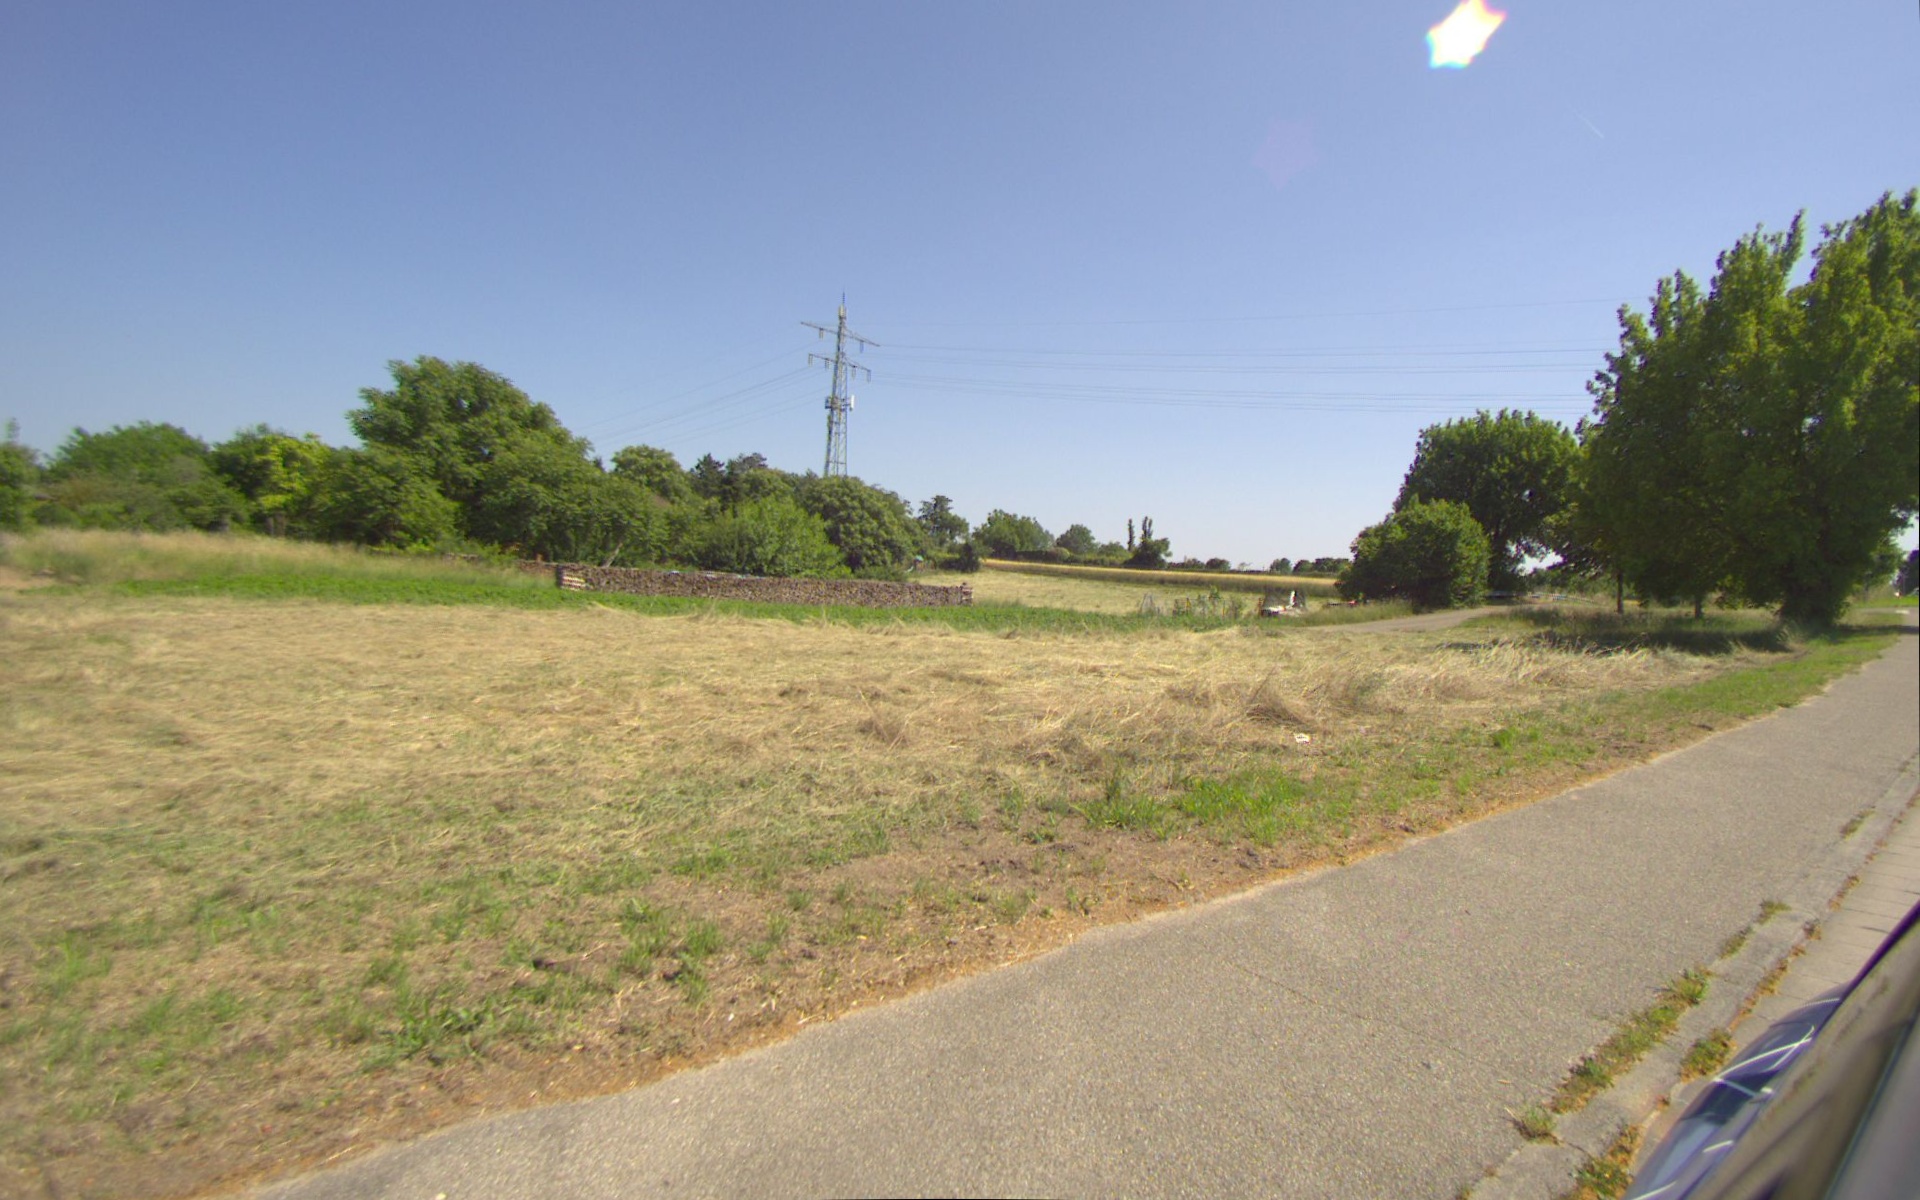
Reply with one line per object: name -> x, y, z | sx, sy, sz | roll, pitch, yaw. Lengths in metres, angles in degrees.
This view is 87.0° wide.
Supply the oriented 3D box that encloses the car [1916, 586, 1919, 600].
car -> 100.211, -0.710, 104.101 | 1.639, 1.451, 3.859 | 2, 1, 28
